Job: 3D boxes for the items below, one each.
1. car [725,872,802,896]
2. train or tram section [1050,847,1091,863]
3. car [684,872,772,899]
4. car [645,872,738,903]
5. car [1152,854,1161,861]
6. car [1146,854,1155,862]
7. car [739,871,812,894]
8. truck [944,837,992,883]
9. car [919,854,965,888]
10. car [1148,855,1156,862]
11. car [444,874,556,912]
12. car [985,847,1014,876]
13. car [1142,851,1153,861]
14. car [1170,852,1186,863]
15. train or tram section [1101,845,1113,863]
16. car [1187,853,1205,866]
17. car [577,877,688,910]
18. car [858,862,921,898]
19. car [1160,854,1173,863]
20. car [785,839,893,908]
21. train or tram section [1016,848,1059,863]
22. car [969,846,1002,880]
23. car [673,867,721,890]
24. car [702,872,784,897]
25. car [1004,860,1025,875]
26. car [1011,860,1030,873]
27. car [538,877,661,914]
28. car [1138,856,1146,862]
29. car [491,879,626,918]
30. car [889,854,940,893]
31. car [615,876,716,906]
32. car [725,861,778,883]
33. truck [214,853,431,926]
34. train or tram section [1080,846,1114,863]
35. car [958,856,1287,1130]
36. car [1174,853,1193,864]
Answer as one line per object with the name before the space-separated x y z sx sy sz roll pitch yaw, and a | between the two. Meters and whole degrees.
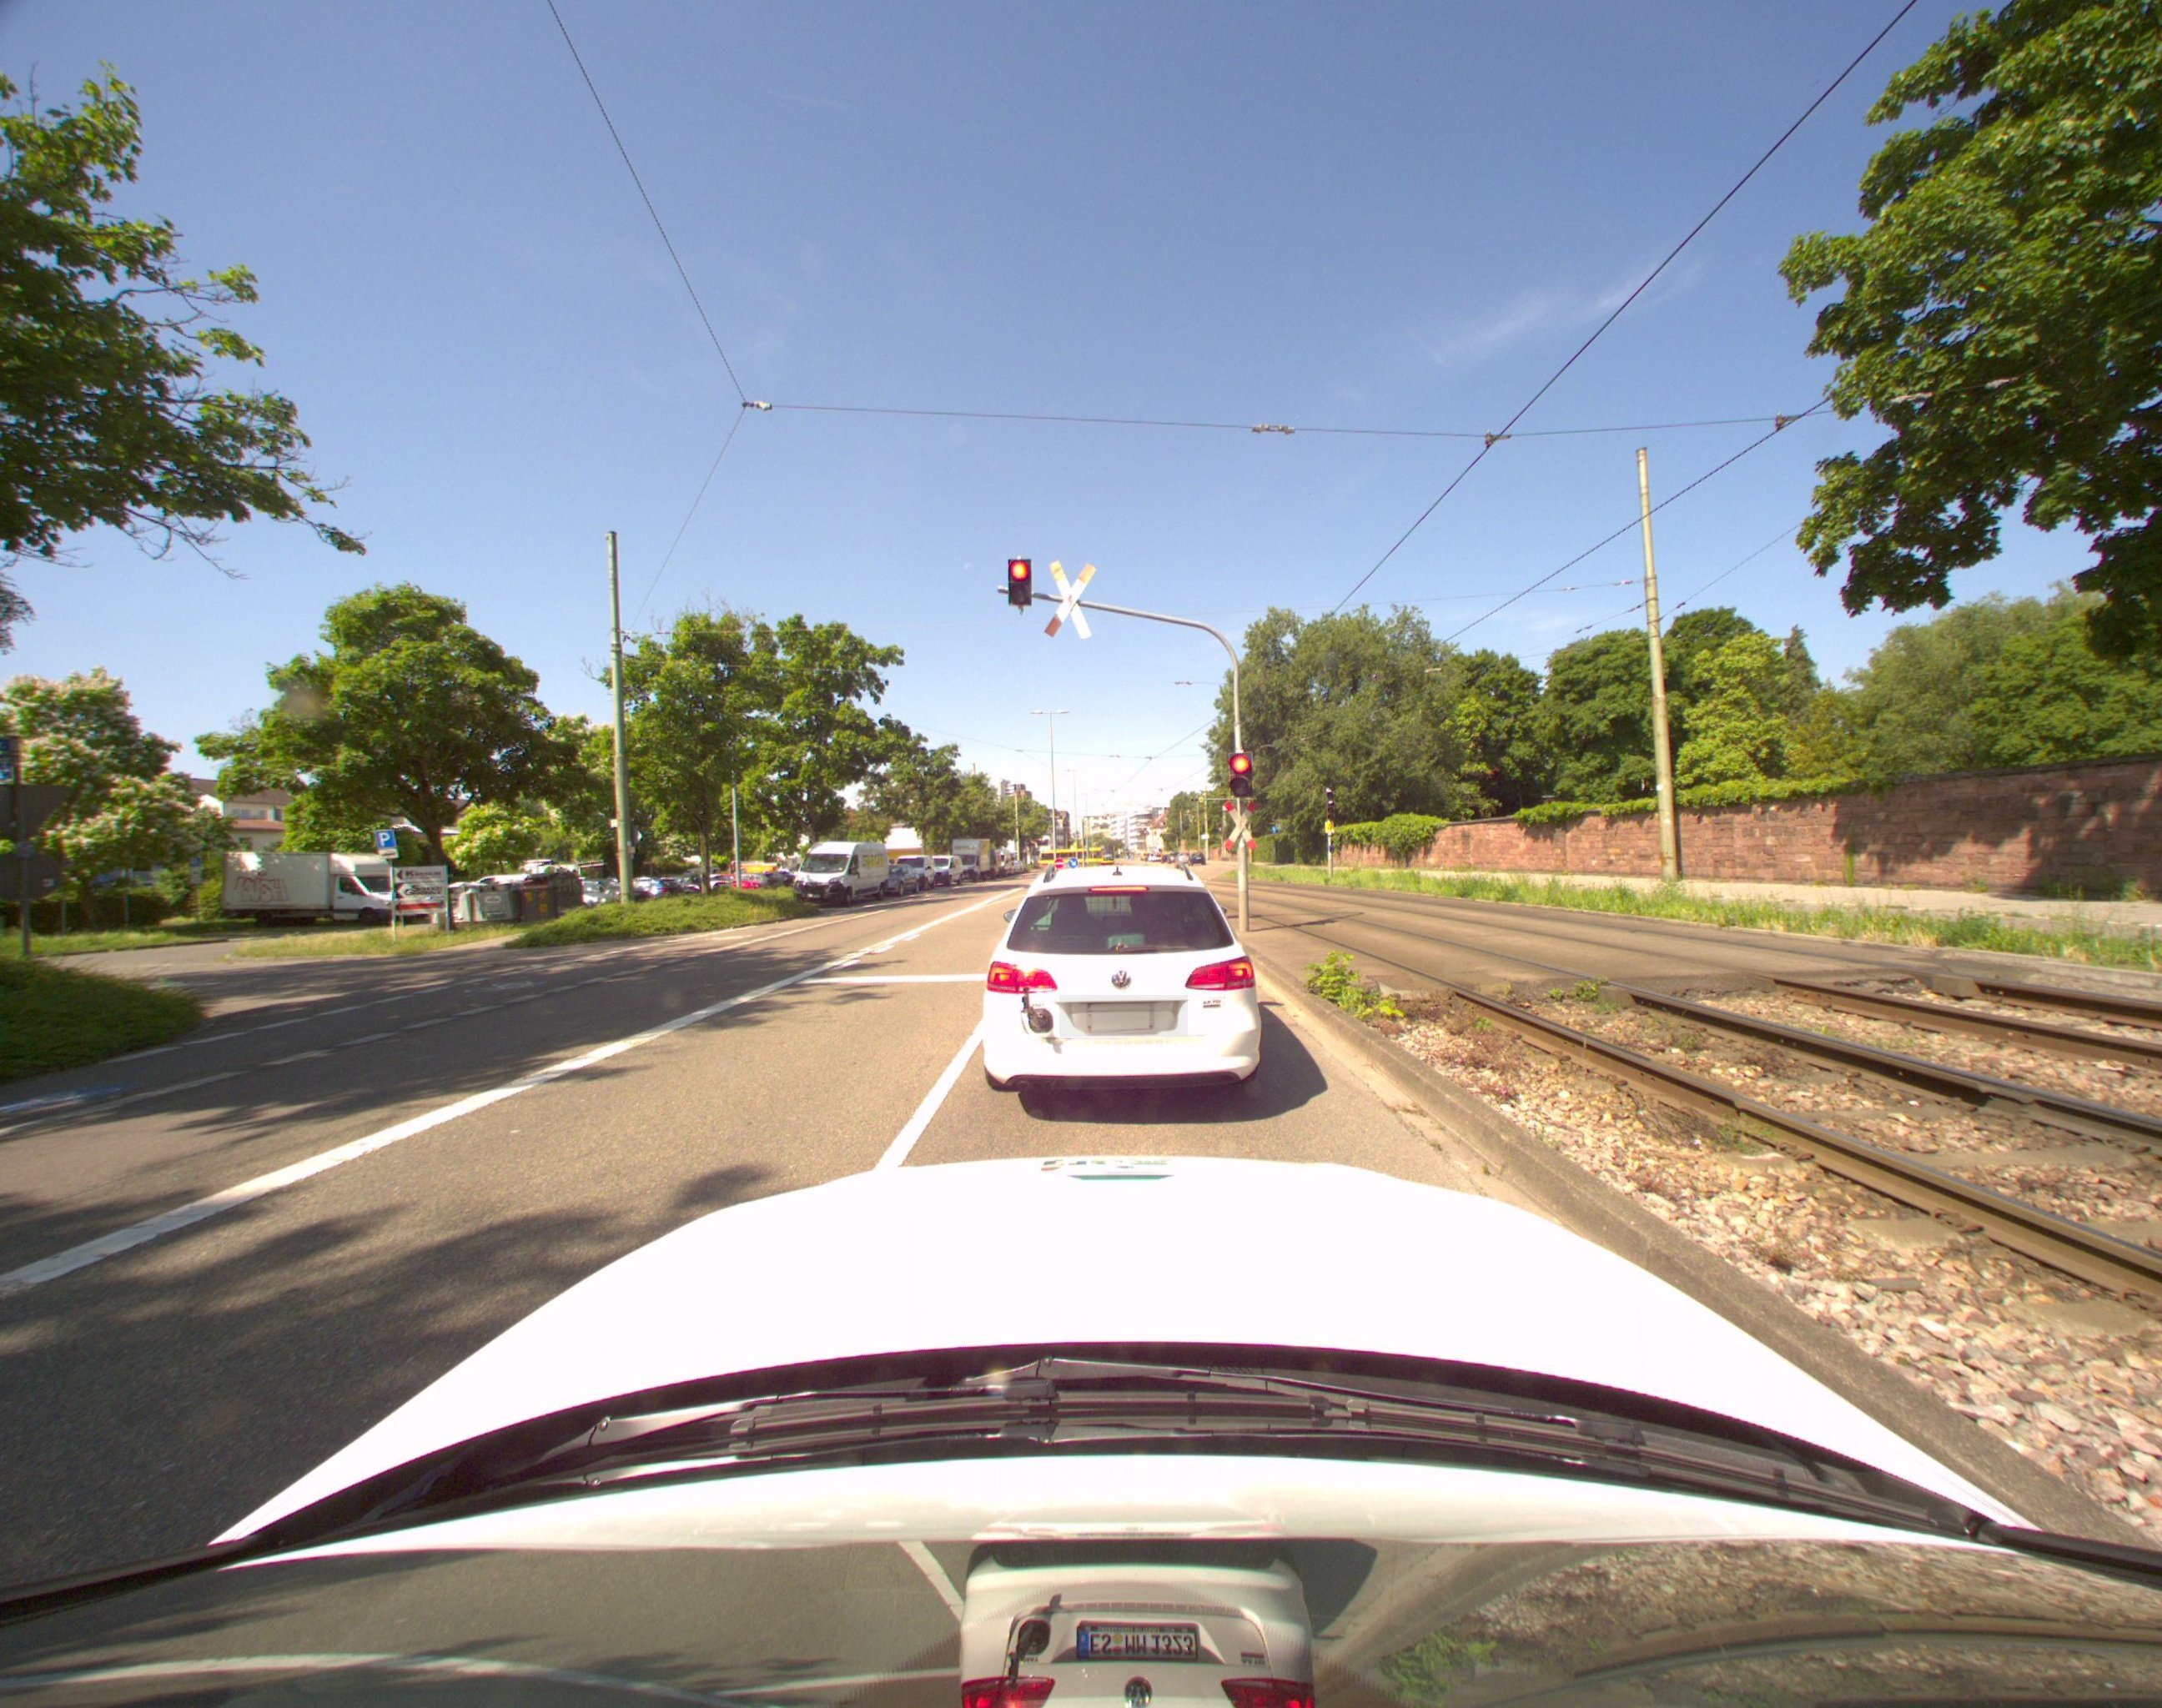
car | -19.528 1.821 50.115 3.969 1.225 1.773 -3 0 4
train or tram section | -2.248 0.293 170.484 2.320 3.253 10.890 1 -1 -40
car | -19.427 1.729 44.919 3.969 1.264 1.773 -3 0 4
car | -20.304 1.728 42.520 3.969 1.350 1.773 -3 0 4
car | 13.903 0.695 150.148 1.576 1.346 3.455 0 -1 1
car | 15.269 0.834 179.571 1.685 1.812 3.455 0 -1 1
car | -19.654 1.846 52.443 3.969 1.225 1.773 -3 0 4
truck | -8.317 0.435 60.688 2.348 3.122 6.892 -3 0 1
car | -8.857 1.024 52.336 1.836 1.960 5.137 -3 0 2
car | 14.497 0.889 166.355 1.576 1.346 3.455 0 -1 1
car | -32.192 2.156 45.234 4.683 2.014 1.997 0 -1 -4
car | -7.603 0.682 76.370 1.836 2.494 5.860 -3 0 2
car | 16.295 0.551 199.677 2.454 2.499 5.912 0 -1 1
car | 13.771 0.509 116.191 1.855 1.513 3.913 0 0 0
train or tram section | 4.886 0.037 152.018 2.292 3.253 11.279 0 -1 2
car | 12.489 0.556 88.607 1.737 1.388 3.919 -1 0 5
car | -20.111 1.750 36.604 3.969 1.225 1.773 -3 0 4
car | -9.087 1.195 38.987 1.837 1.516 4.199 -3 0 2
car | 13.707 0.759 130.442 1.740 1.407 3.912 0 0 0
car | -9.572 0.702 32.911 2.049 2.501 6.315 0 0 4
train or tram section | -9.657 0.417 177.916 10.668 3.253 2.323 -1 -1 40
car | -7.970 0.750 68.551 1.836 2.668 5.006 -3 0 2
car | -34.372 2.178 72.906 3.412 1.876 1.552 -3 0 -1
car | -19.663 1.783 47.521 3.969 1.225 1.773 -3 0 4
car | -7.460 1.496 91.447 1.837 1.433 4.039 -3 0 2
car | -7.150 1.475 96.945 1.774 1.433 4.039 -3 0 2
car | -19.916 1.699 33.780 3.974 1.225 1.771 -3 0 0
car | 16.023 1.424 214.498 1.986 1.596 4.002 0 -1 2
car | -20.013 1.697 31.300 3.974 1.225 1.771 -3 0 0
car | -9.282 1.037 45.781 1.839 1.937 5.189 -3 0 -2
car | -20.295 1.801 39.837 3.969 1.225 1.773 -3 0 4
car | -31.475 1.687 77.915 4.249 2.014 1.997 0 -1 -5
truck | -32.441 1.489 34.988 7.119 3.019 2.231 0 0 -1
train or tram section | 3.037 0.164 161.813 2.312 3.253 10.719 0 -1 -25
car | 0.260 0.753 6.336 1.762 1.446 3.913 0 0 1
car | 12.833 0.527 101.819 1.855 1.416 4.325 0 0 0
